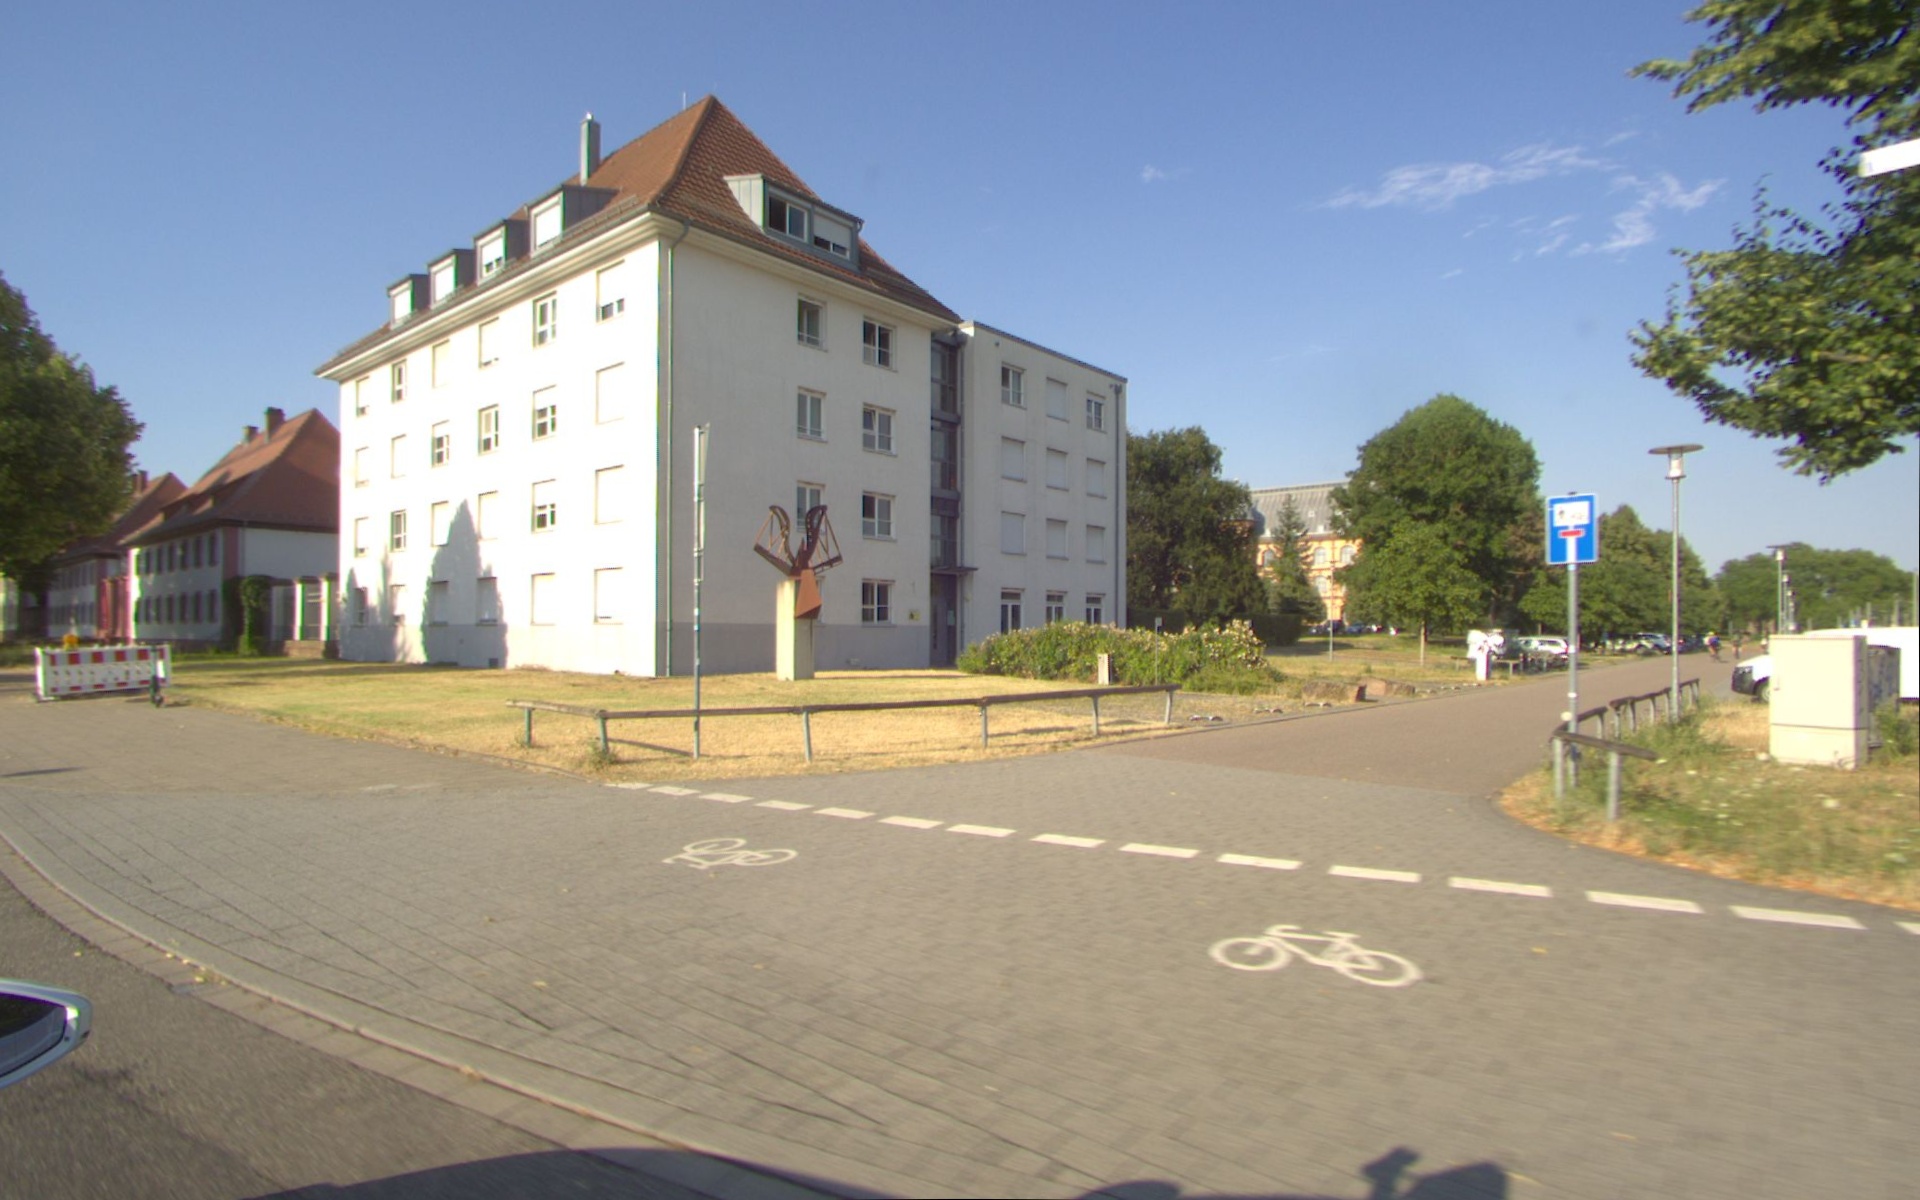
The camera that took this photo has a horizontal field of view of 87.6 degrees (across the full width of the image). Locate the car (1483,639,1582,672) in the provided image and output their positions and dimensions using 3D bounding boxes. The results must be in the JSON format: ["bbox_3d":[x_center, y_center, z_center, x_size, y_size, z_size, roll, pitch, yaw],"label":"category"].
[{"bbox_3d":[27.949,2.668,48.910,3.952,1.549,1.985,-1,-2,40],"label":"car"}]

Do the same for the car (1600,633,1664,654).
[{"bbox_3d":[51.477,3.305,76.733,3.952,1.549,1.985,-1,-2,40],"label":"car"}]

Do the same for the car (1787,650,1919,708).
[{"bbox_3d":[24.750,2.088,26.848,3.954,1.461,1.856,-2,-3,41],"label":"car"}]

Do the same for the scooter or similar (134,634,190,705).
[{"bbox_3d":[-15.841,1.353,19.868,1.446,1.310,0.556,-1,2,41],"label":"scooter or similar"}]

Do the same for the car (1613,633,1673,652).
[{"bbox_3d":[56.141,3.465,82.316,3.952,1.549,1.985,-1,-2,40],"label":"car"}]

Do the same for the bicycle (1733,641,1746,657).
[{"bbox_3d":[55.430,3.463,71.190,0.614,1.089,2.390,-1,-2,36],"label":"bicycle"}]

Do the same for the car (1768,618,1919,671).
[{"bbox_3d":[36.002,1.798,40.580,5.002,2.039,2.252,-2,-3,41],"label":"car"}]

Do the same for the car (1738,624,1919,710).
[{"bbox_3d":[22.879,1.658,25.121,5.161,2.039,2.252,-3,-3,41],"label":"car"}]

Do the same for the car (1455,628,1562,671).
[{"bbox_3d":[24.621,2.191,45.002,3.952,1.816,1.879,-1,-2,40],"label":"car"}]

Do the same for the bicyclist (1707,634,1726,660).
[{"bbox_3d":[47.395,2.919,62.773,0.812,1.613,0.931,0,-1,29],"label":"bicyclist"}]

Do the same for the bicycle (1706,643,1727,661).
[{"bbox_3d":[47.395,3.261,62.771,0.666,1.094,2.528,0,-2,29],"label":"bicycle"}]

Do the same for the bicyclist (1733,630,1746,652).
[{"bbox_3d":[55.288,2.887,71.026,0.740,1.544,0.888,-1,-1,37],"label":"bicyclist"}]
